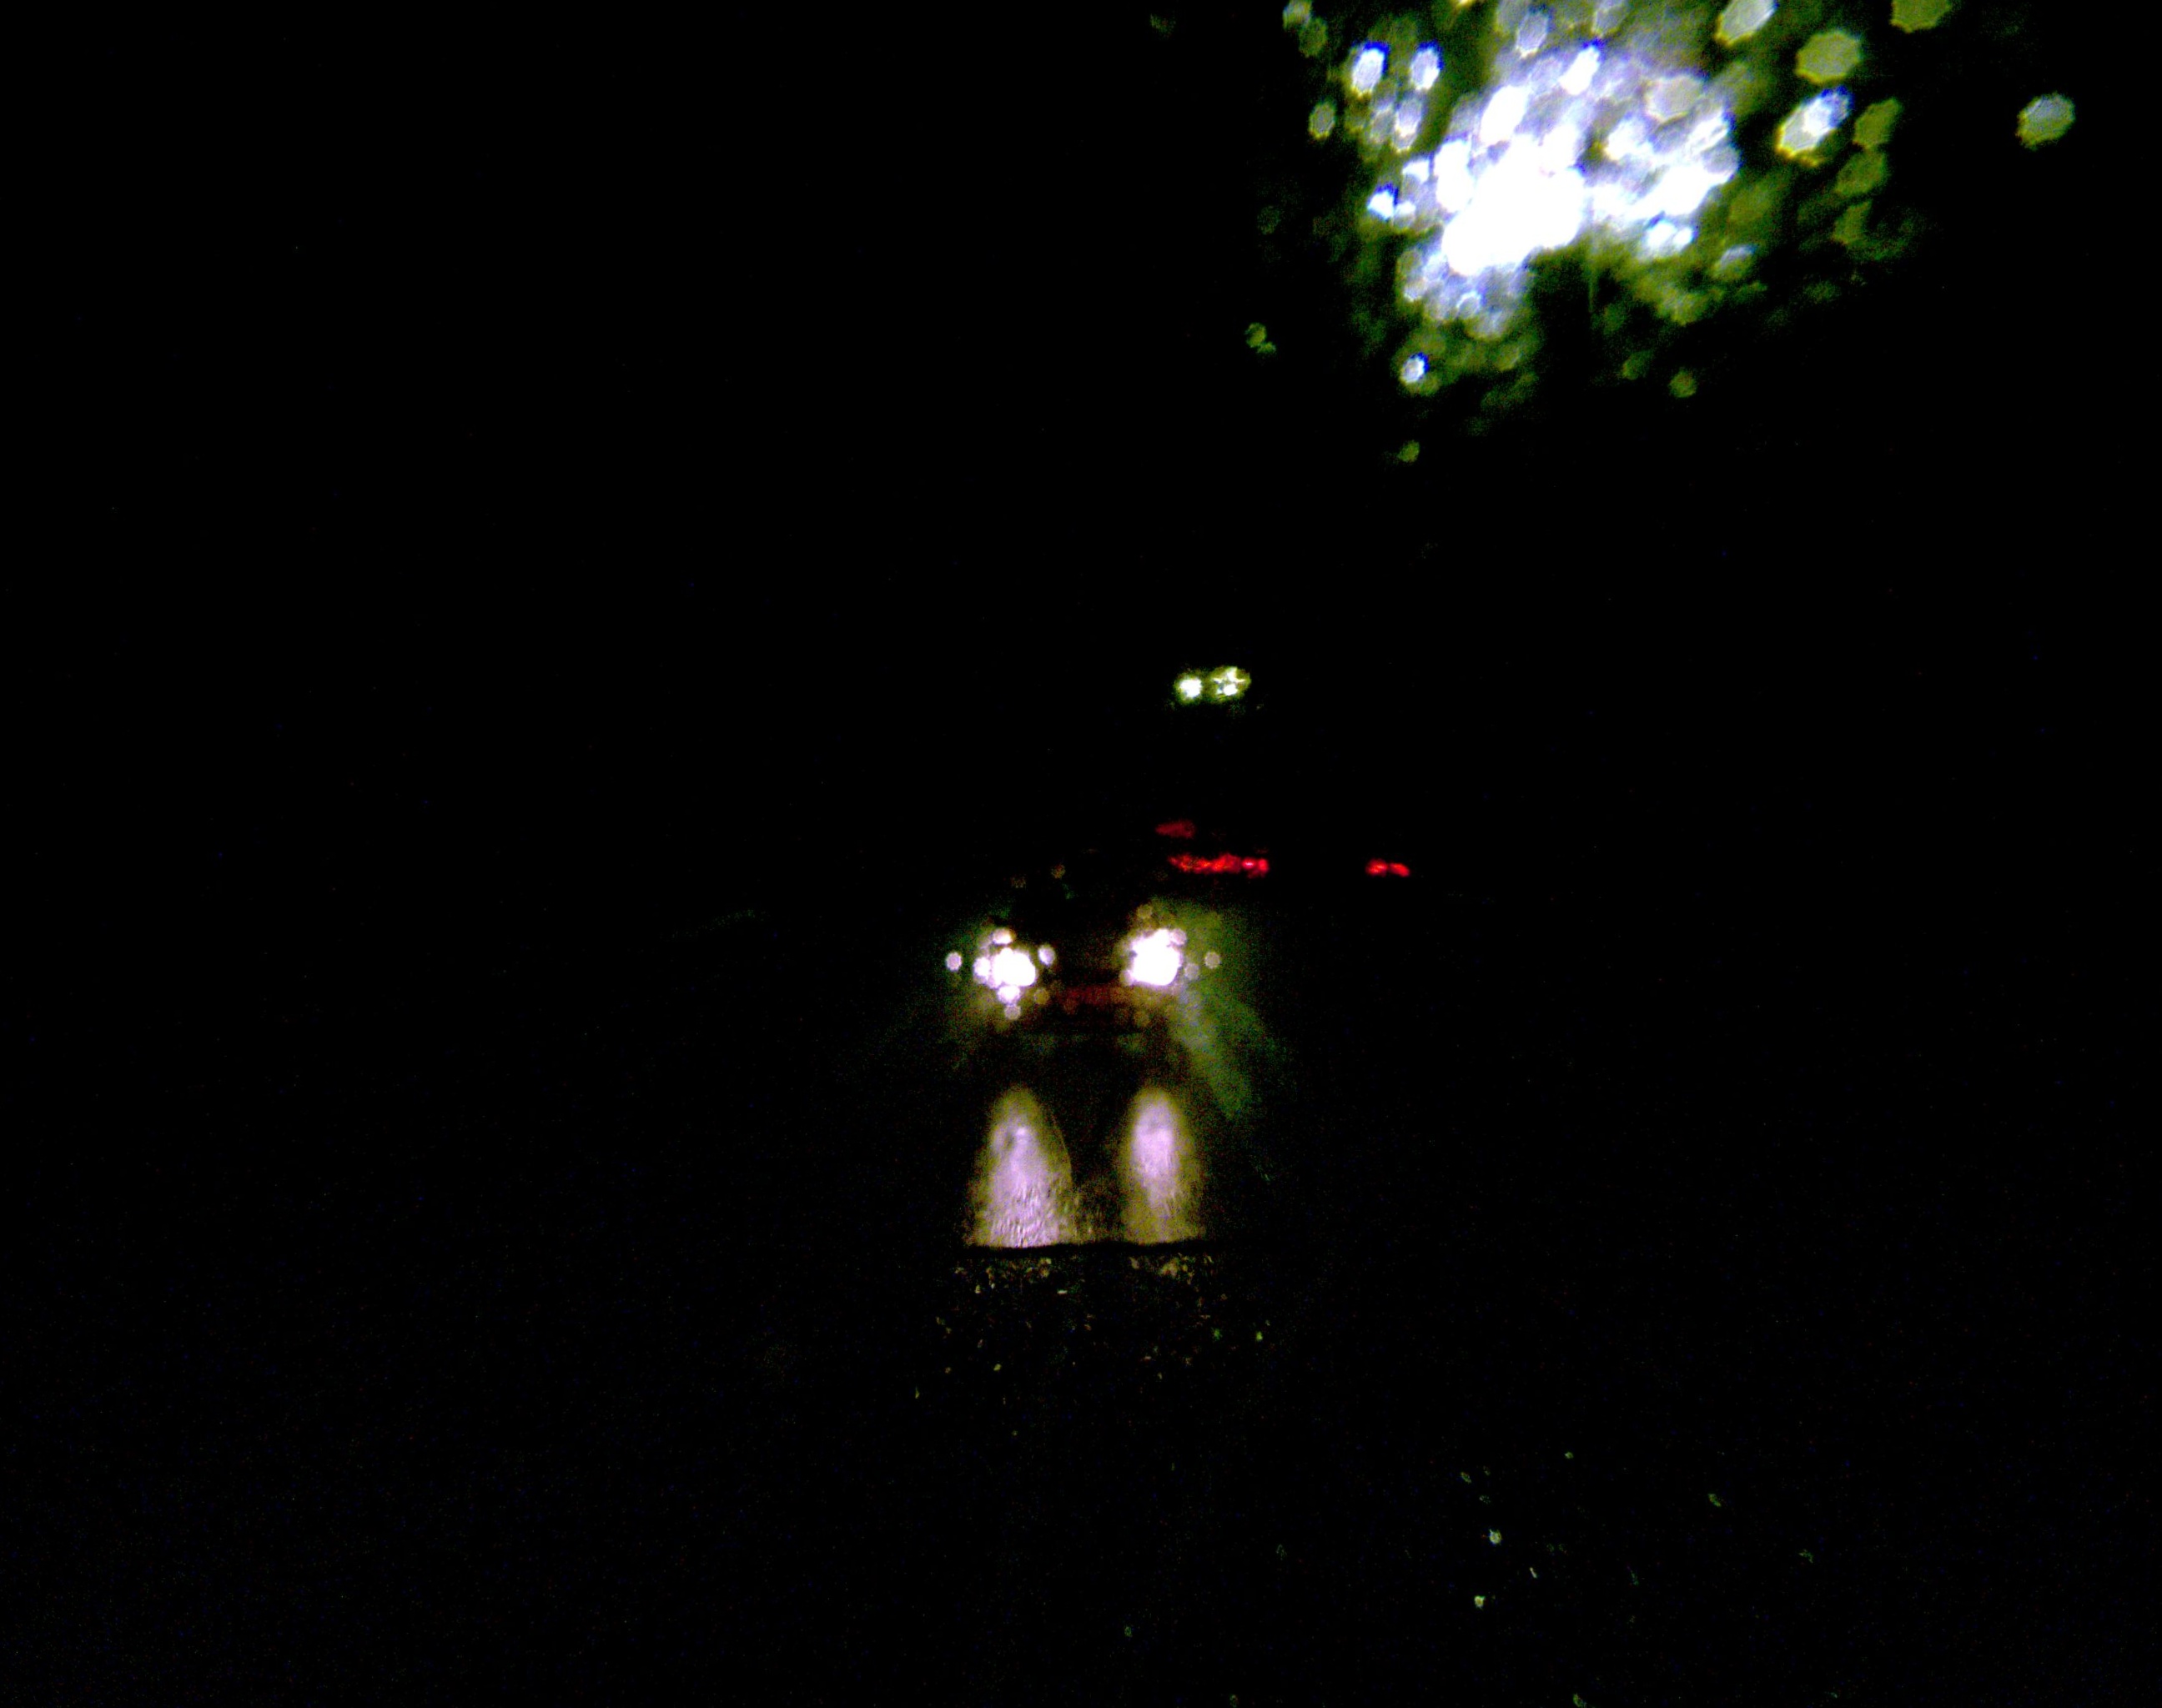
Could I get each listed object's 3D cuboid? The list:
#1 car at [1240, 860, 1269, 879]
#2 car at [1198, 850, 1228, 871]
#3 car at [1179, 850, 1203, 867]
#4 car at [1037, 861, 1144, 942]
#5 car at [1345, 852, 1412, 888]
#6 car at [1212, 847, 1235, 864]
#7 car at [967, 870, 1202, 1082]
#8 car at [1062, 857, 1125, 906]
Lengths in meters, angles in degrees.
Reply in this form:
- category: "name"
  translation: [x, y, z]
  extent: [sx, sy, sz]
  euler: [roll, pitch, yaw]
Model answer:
- category: "car"
  translation: [15.820, 1.401, 69.524]
  extent: [1.817, 1.637, 4.000]
  euler: [-2, 0, 2]
- category: "car"
  translation: [11.050, 0.511, 63.742]
  extent: [1.788, 1.637, 4.000]
  euler: [-2, 0, 0]
- category: "car"
  translation: [11.406, 0.469, 79.200]
  extent: [1.788, 1.637, 3.999]
  euler: [-2, 0, -2]
- category: "car"
  translation: [0.208, 0.920, 16.310]
  extent: [1.998, 1.455, 4.000]
  euler: [-1, 0, 1]
- category: "car"
  translation: [14.751, 0.773, 37.886]
  extent: [1.866, 1.637, 4.000]
  euler: [-2, 0, 2]
- category: "car"
  translation: [17.042, 0.176, 90.969]
  extent: [1.998, 2.002, 4.000]
  euler: [-2, 0, 1]
- category: "car"
  translation: [0.053, 0.984, 7.841]
  extent: [1.764, 1.492, 4.000]
  euler: [-2, 0, 1]
- category: "car"
  translation: [0.414, 0.896, 26.452]
  extent: [1.998, 1.531, 4.000]
  euler: [-1, 0, 1]
